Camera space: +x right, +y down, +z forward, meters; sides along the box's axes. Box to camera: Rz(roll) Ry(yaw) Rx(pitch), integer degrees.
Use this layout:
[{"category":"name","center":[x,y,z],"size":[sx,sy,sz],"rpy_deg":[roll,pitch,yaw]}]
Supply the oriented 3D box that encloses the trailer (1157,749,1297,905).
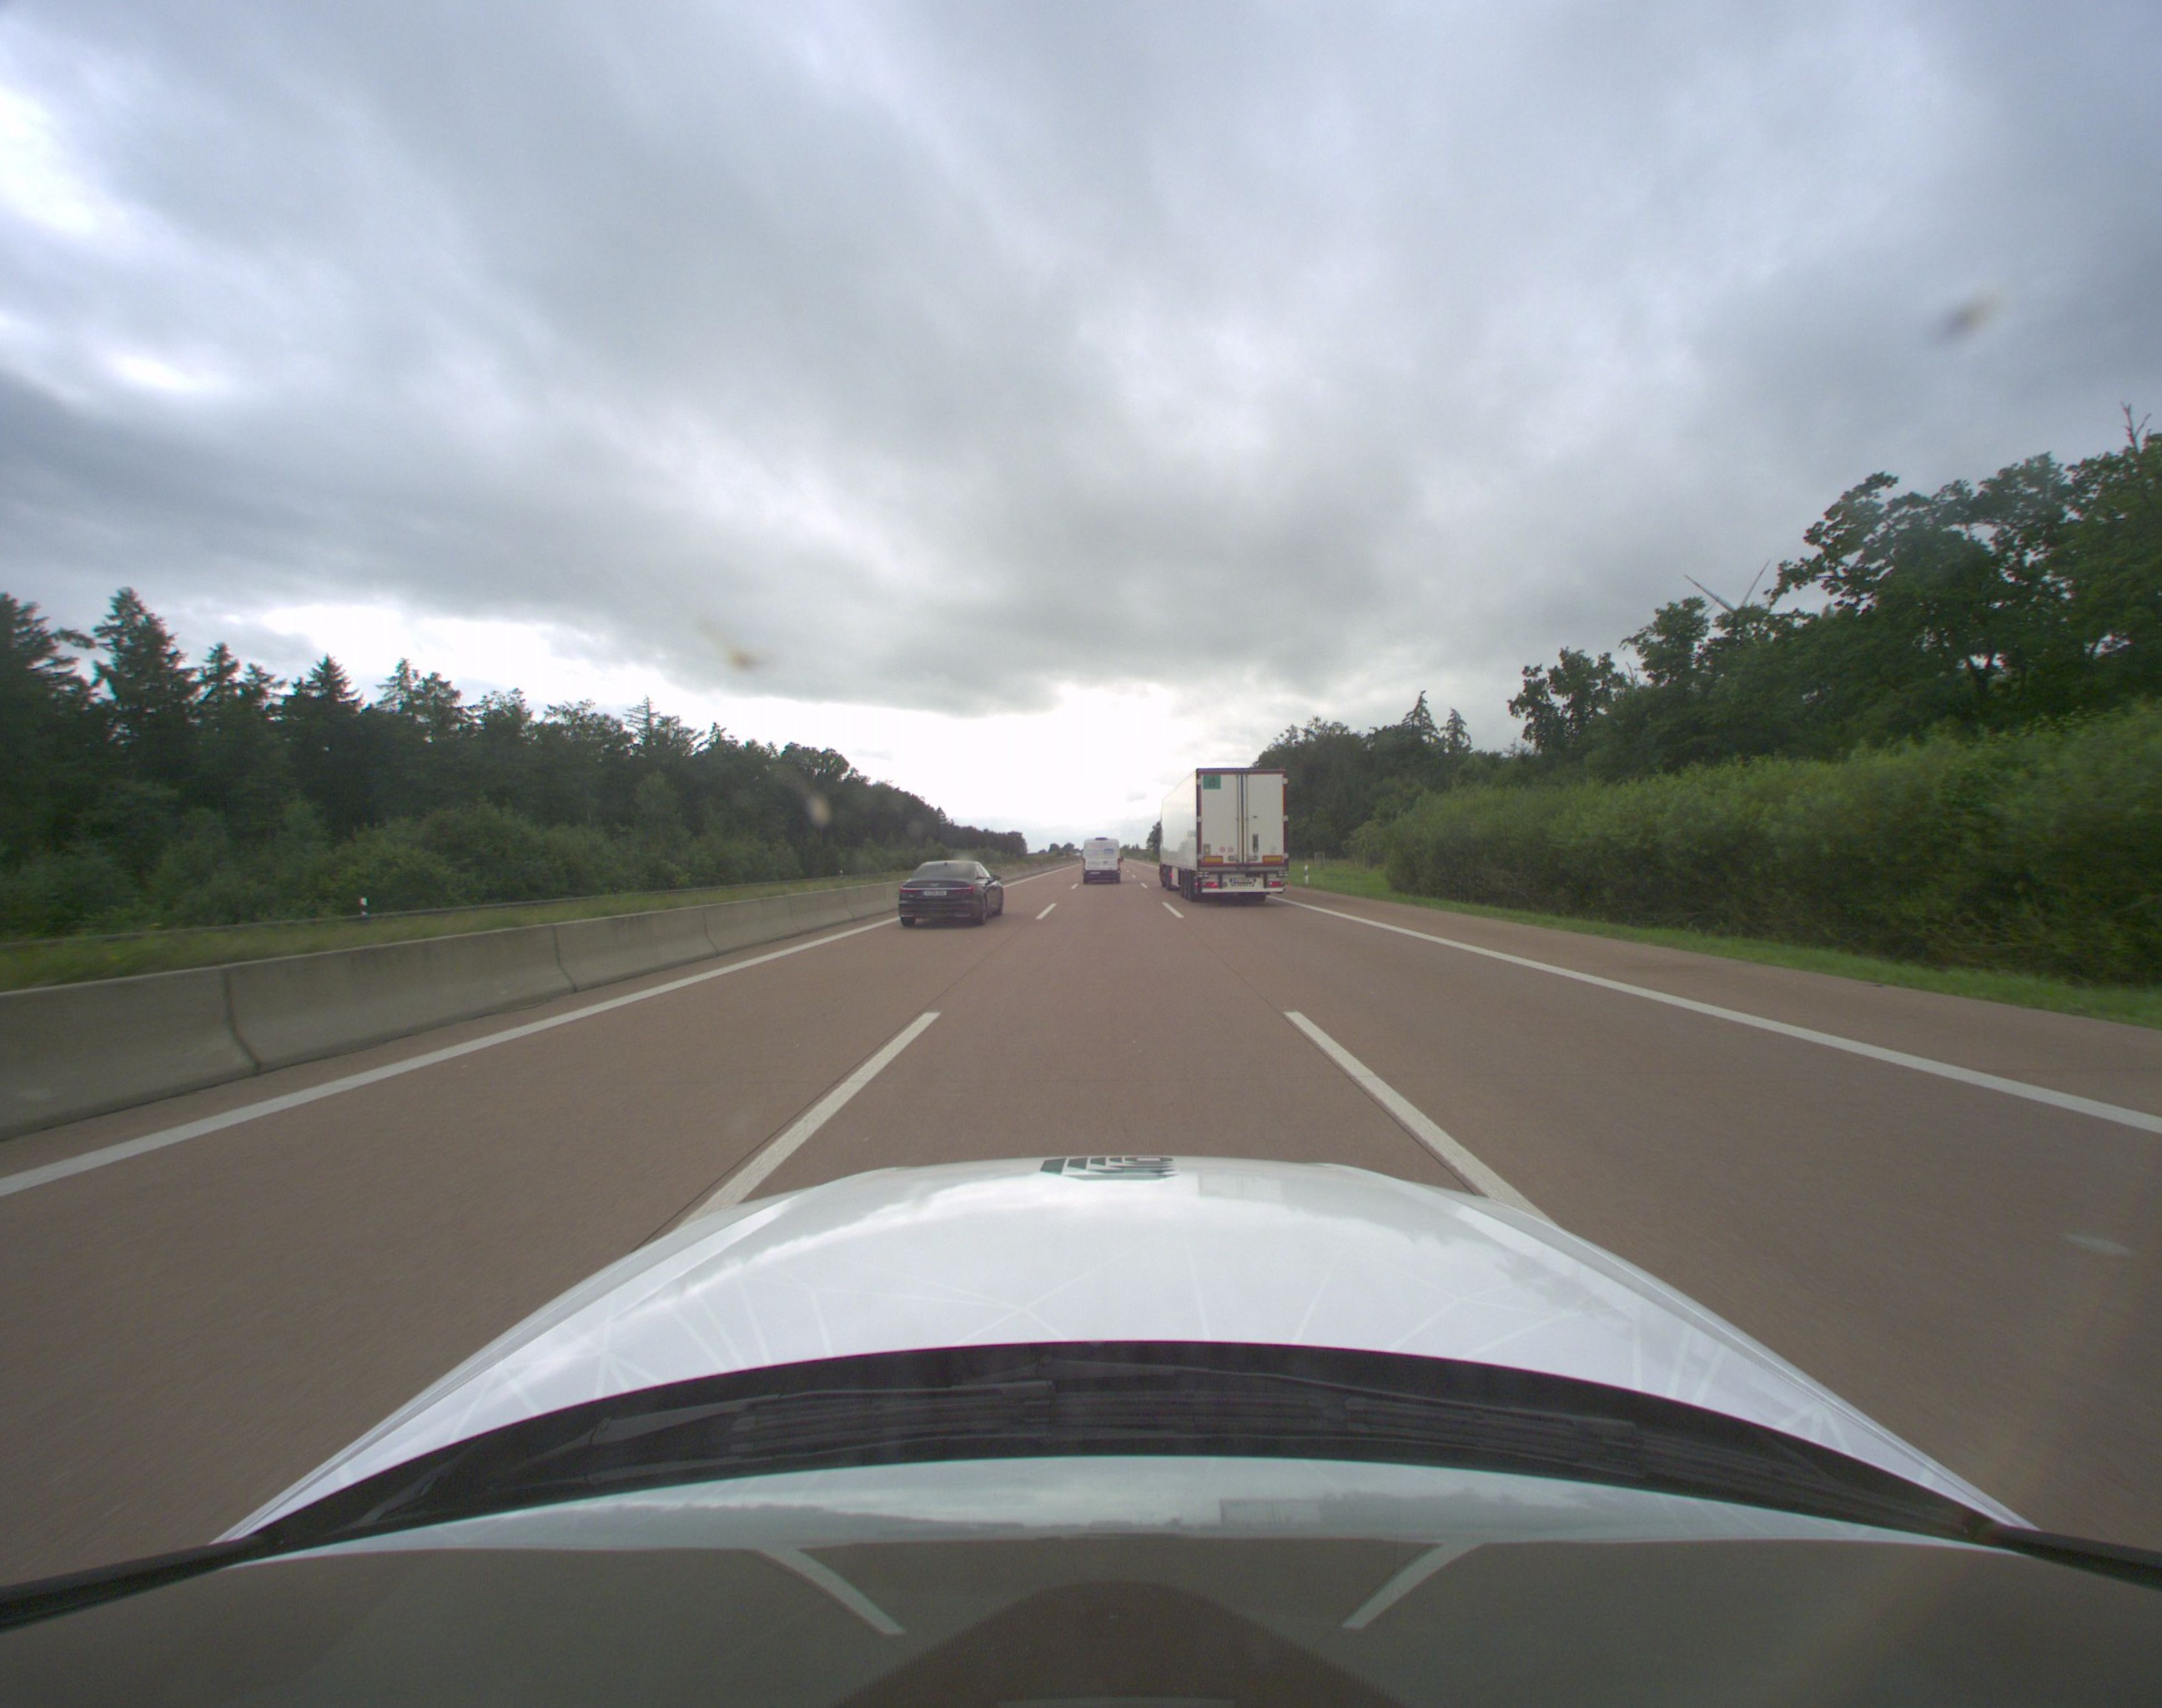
[{"category":"trailer","center":[4.717,-0.739,29.565],"size":[2.910,4.294,13.618],"rpy_deg":[-1,0,2]}]

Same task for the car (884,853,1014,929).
[{"category":"car","center":[-2.997,0.776,19.860],"size":[2.077,1.550,5.676],"rpy_deg":[0,0,1]}]

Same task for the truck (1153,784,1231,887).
[{"category":"truck","center":[4.917,-0.756,36.966],"size":[2.911,4.294,5.336],"rpy_deg":[-1,0,1]}]

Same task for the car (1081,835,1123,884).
[{"category":"car","center":[1.225,0.266,46.052],"size":[2.129,2.507,7.135],"rpy_deg":[-1,0,2]}]
